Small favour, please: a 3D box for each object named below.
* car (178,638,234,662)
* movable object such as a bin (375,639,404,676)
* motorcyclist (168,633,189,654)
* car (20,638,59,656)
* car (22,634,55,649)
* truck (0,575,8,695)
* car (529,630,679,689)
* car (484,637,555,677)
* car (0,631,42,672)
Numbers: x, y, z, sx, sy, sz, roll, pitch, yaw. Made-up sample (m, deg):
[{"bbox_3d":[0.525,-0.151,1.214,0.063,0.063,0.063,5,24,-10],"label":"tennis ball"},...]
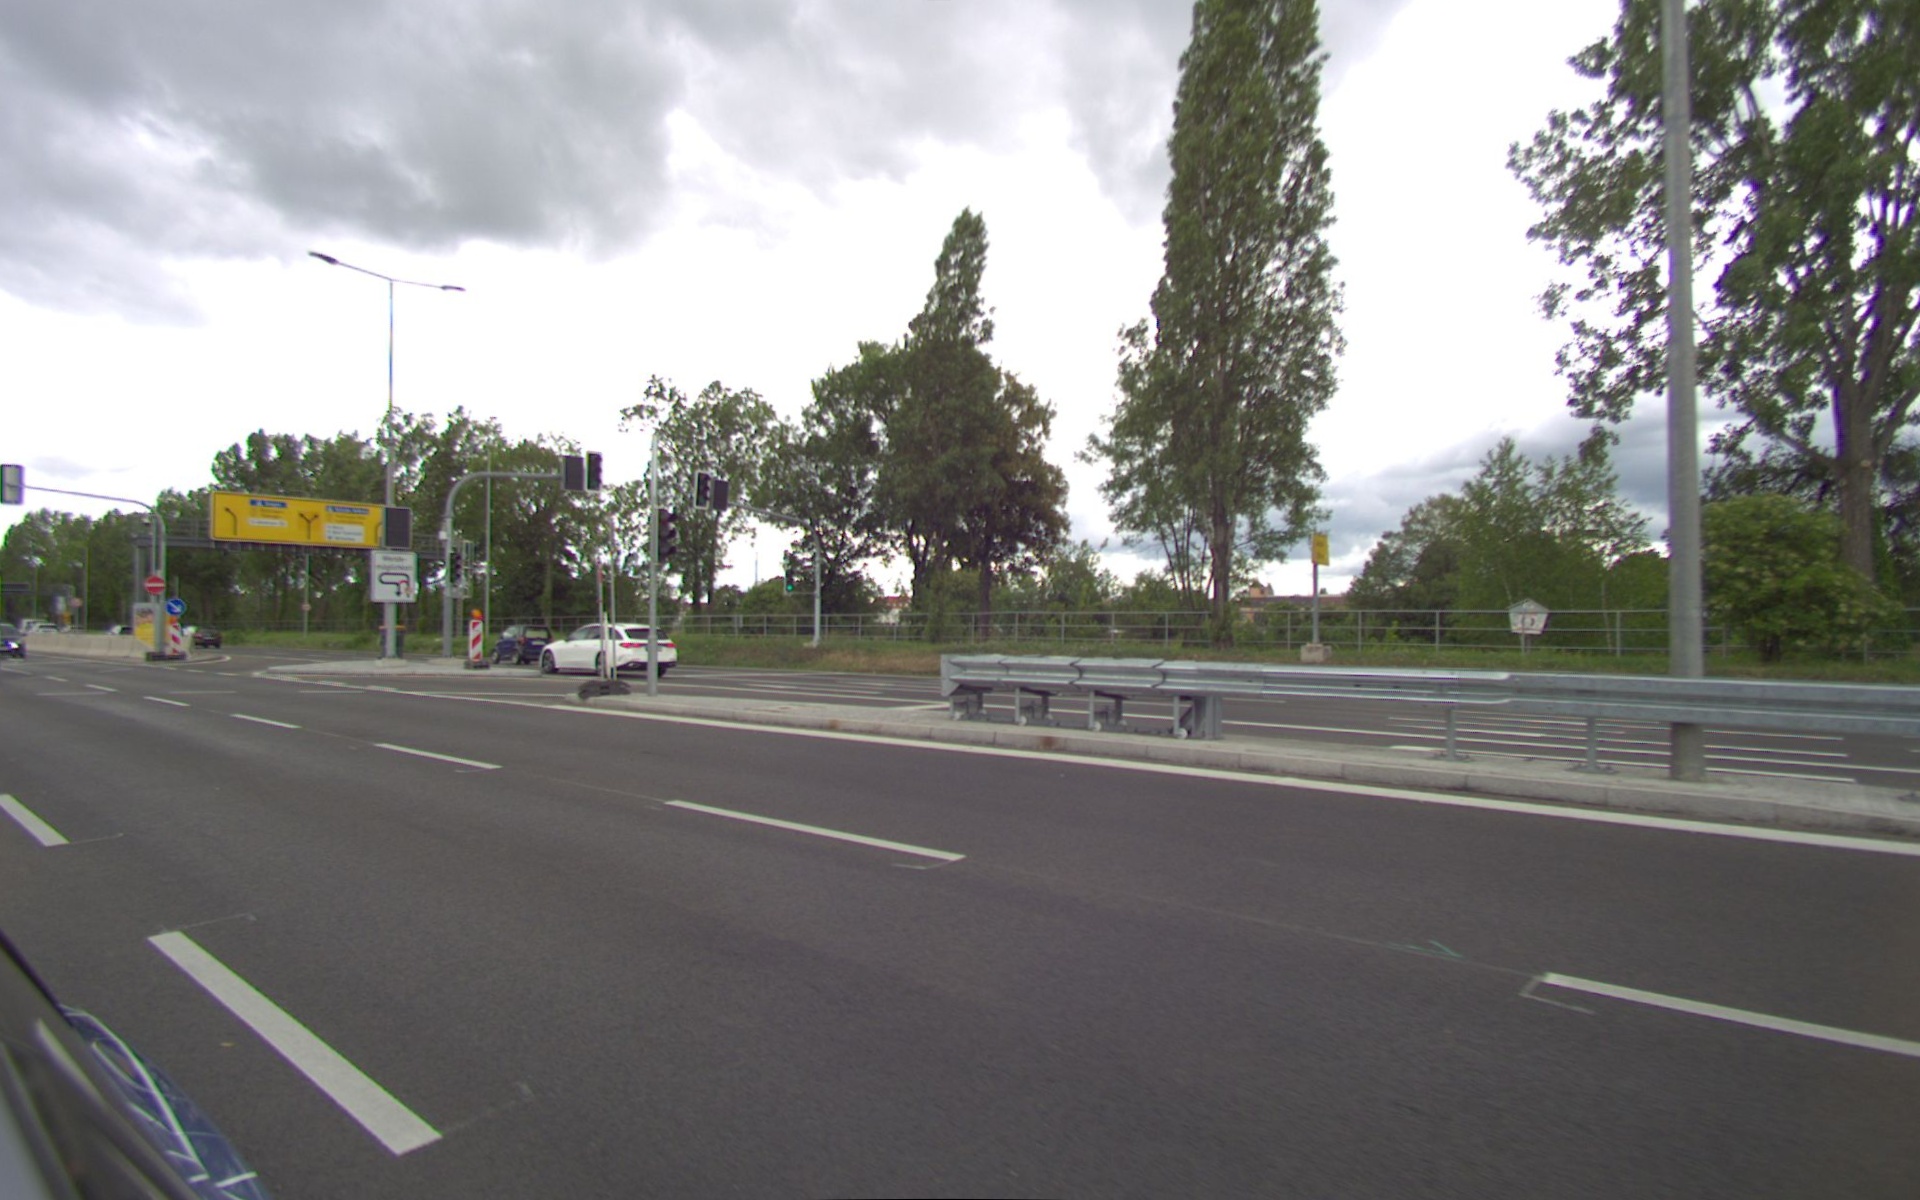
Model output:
[{"bbox_3d":[-51.530,3.395,69.135,4.998,1.537,1.987,-2,-2,40],"label":"car"},{"bbox_3d":[-16.049,1.612,28.465,0.622,1.032,0.563,-2,-2,45],"label":"movable object such as a bin"},{"bbox_3d":[-48.124,2.652,62.309,1.085,1.248,0.865,-2,-2,41],"label":"motorcyclist"},{"bbox_3d":[-83.276,4.220,91.507,4.998,1.580,1.987,-2,-2,40],"label":"car"},{"bbox_3d":[-98.597,4.437,108.232,4.998,1.537,1.987,-2,-2,40],"label":"car"},{"bbox_3d":[-30.894,1.090,29.913,12.499,3.163,2.623,-2,-2,40],"label":"truck"},{"bbox_3d":[-10.173,1.660,28.712,4.998,1.537,1.680,-2,-4,40],"label":"car"},{"bbox_3d":[-17.085,2.191,39.213,2.631,1.487,1.489,-2,-4,41],"label":"car"},{"bbox_3d":[-42.288,2.271,44.853,4.143,1.738,1.859,-2,-2,40],"label":"car"}]
